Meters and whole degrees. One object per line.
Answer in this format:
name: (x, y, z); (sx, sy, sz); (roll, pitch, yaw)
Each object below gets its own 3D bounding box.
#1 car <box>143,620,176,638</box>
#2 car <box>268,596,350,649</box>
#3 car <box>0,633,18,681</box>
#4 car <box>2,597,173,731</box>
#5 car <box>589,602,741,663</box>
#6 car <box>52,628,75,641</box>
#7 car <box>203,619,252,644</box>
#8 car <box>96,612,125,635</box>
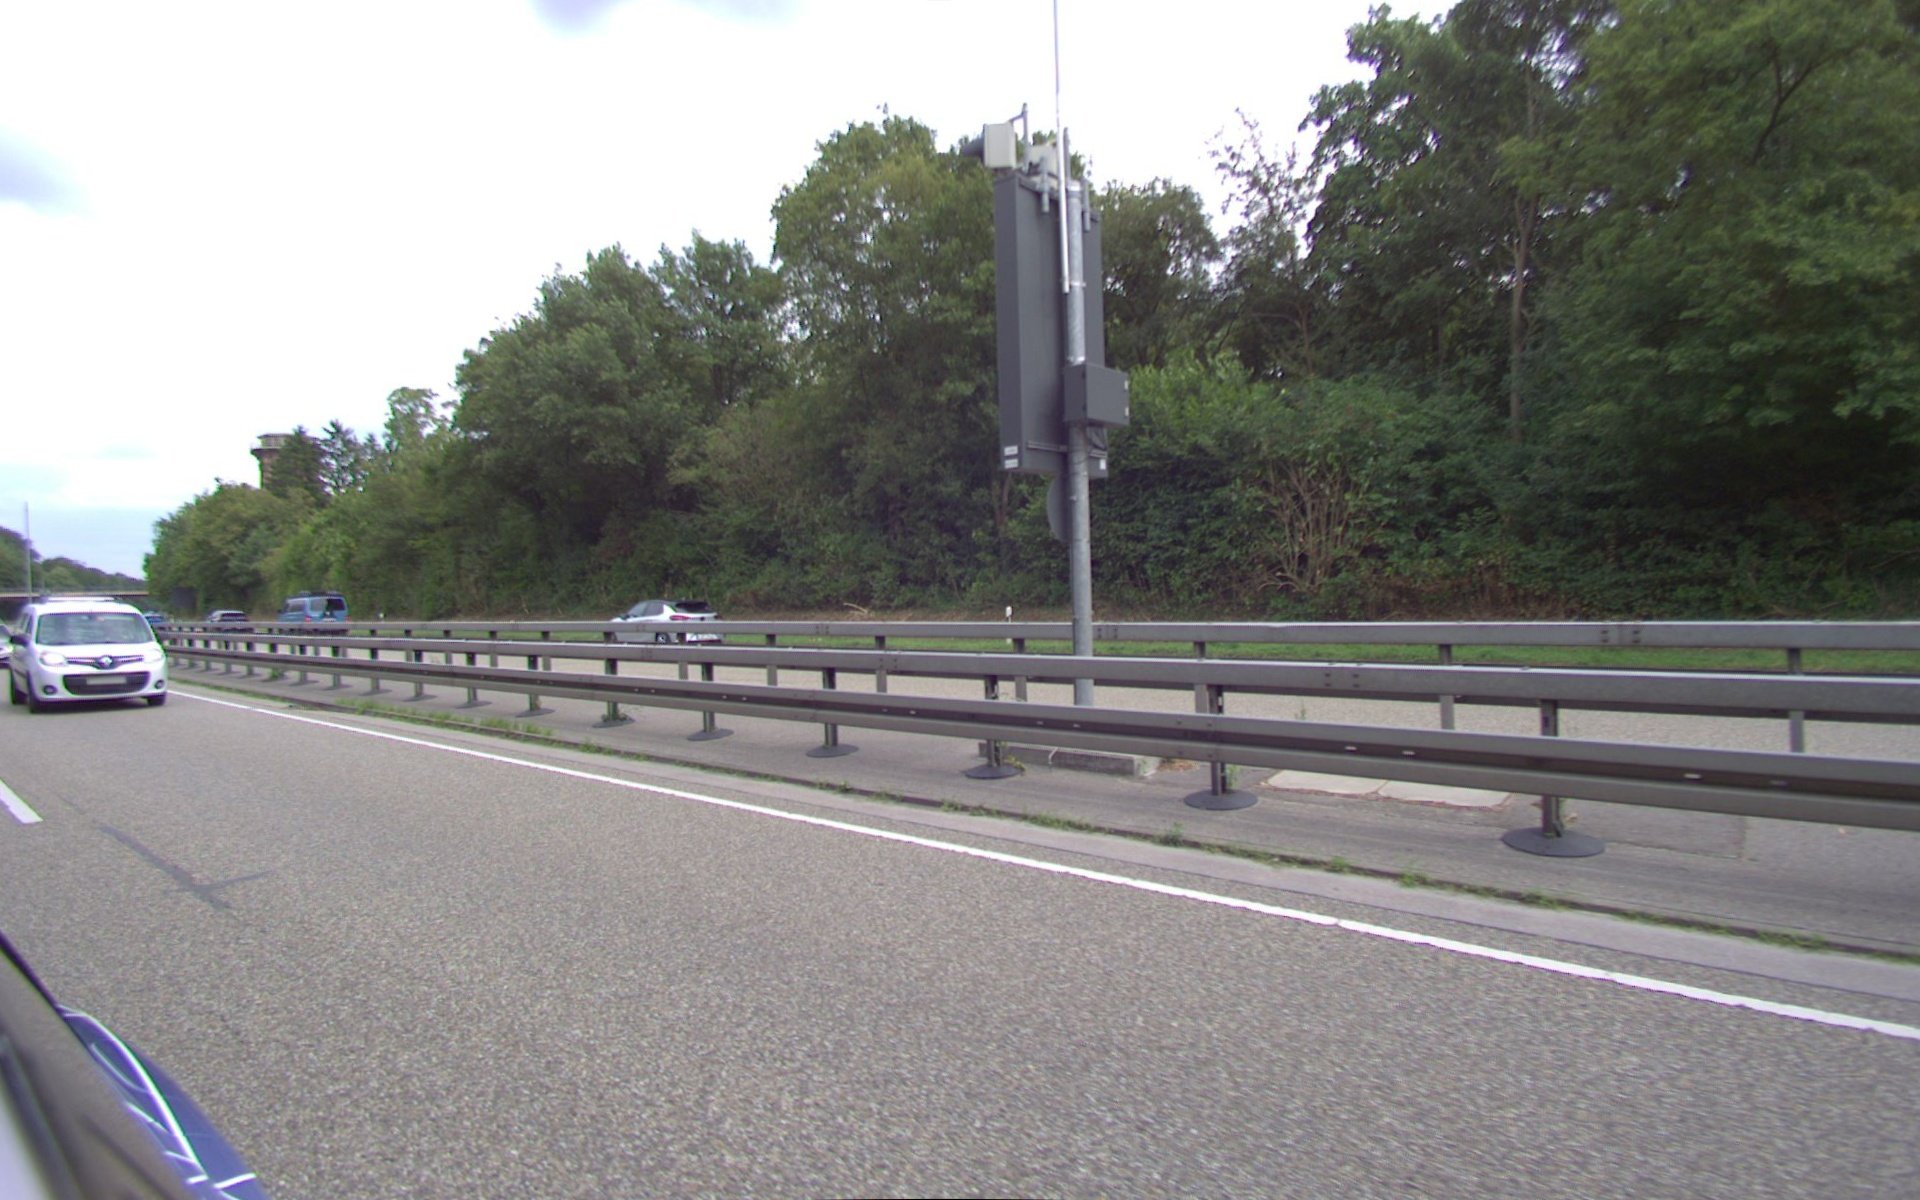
car: (-68.234, 2.445, 86.207); (1.969, 1.521, 4.511); (0, -1, -41)
car: (-30.609, 1.044, 47.520); (5.304, 2.339, 1.915); (-1, -1, 42)
car: (-30.952, 1.770, 31.704); (4.197, 1.435, 1.749); (-1, -1, 42)
car: (-15.186, 1.012, 17.527); (4.423, 2.020, 1.797); (-1, -1, 43)
car: (-7.874, 0.841, 26.849); (4.129, 1.492, 1.973); (-1, -1, 41)
car: (-106.750, 4.083, 120.477); (4.015, 1.575, 1.762); (-1, -1, 44)
car: (-45.274, 1.947, 62.534); (4.089, 1.478, 1.676); (-1, -1, 43)
car: (-85.592, 2.391, 101.915); (2.041, 2.273, 5.381); (0, -1, -42)
